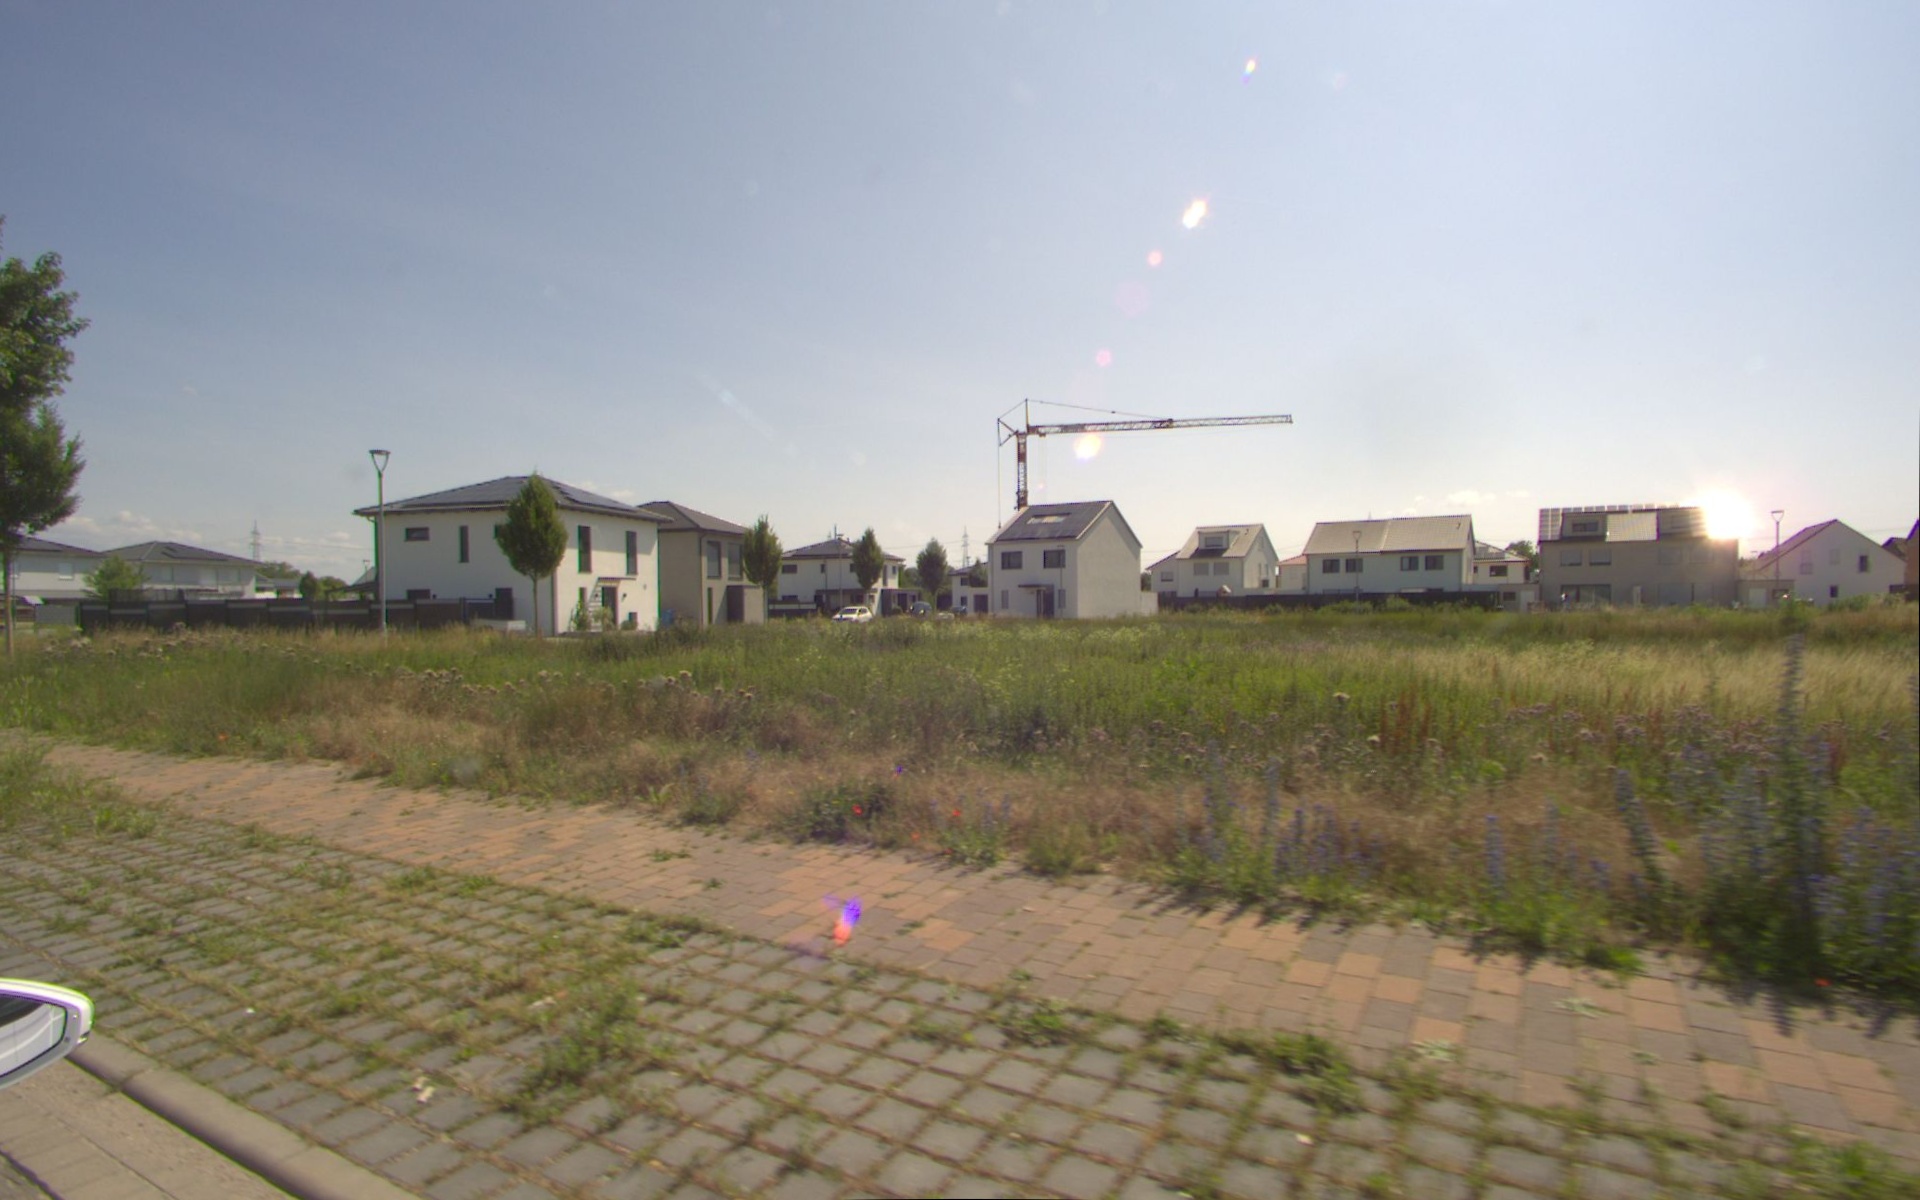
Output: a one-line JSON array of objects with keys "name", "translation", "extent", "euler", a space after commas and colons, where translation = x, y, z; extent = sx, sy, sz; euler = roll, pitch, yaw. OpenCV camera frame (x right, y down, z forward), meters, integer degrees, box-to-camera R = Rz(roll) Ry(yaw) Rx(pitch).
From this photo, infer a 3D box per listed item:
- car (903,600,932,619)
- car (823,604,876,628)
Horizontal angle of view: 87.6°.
[{"name": "car", "translation": [-4.203, 0.946, 99.693], "extent": [1.794, 1.776, 4.237], "euler": [0, 0, 13]}, {"name": "car", "translation": [-6.807, 0.967, 62.062], "extent": [1.719, 1.416, 3.993], "euler": [-1, -1, 18]}]
